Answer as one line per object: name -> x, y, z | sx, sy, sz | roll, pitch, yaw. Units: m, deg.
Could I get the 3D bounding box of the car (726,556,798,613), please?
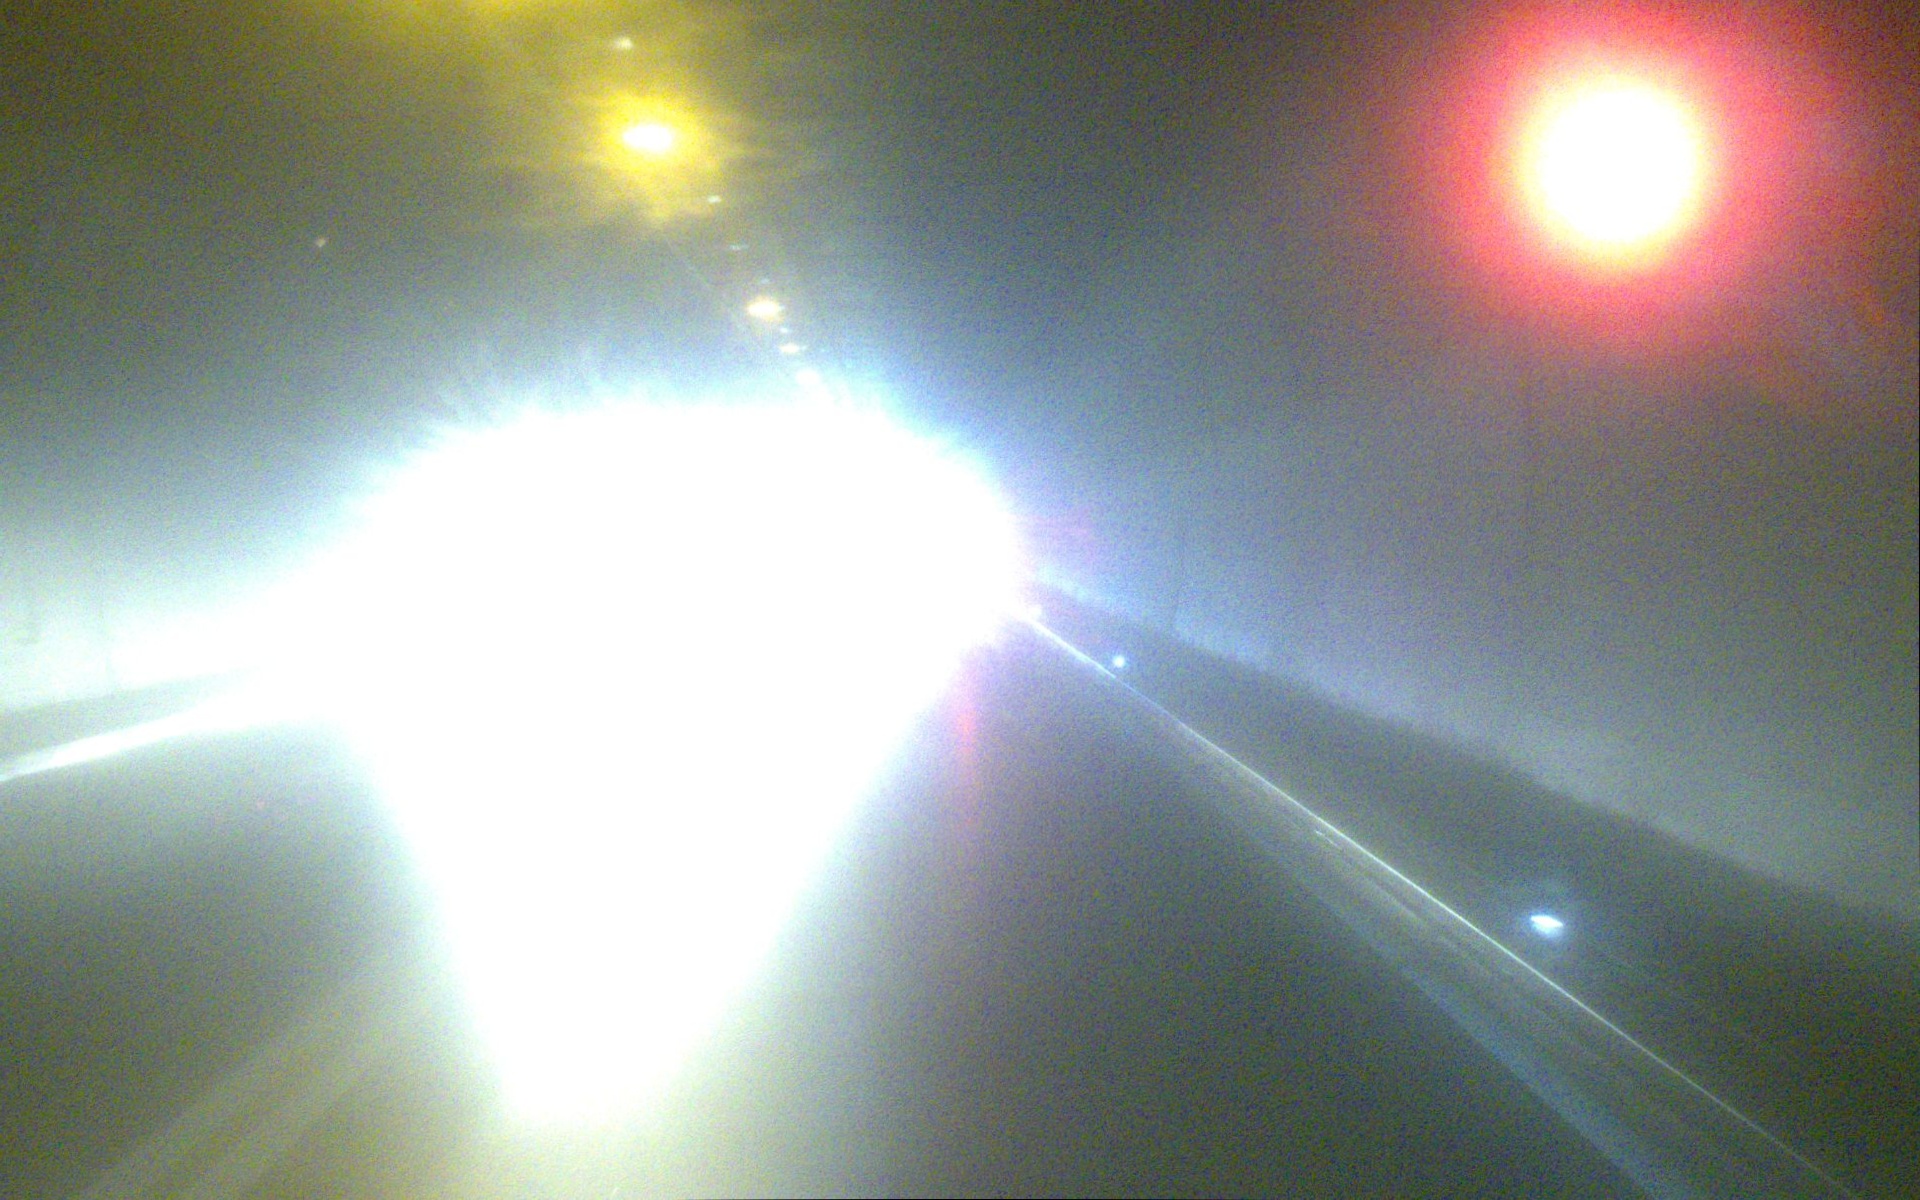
car -> -5.097, -0.419, 88.771 | 1.690, 1.417, 3.625 | -1, 1, -1

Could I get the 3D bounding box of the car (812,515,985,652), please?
car -> -0.781, -0.239, 43.646 | 2.089, 1.656, 4.000 | 0, 1, -1

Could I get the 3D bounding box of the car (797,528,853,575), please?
car -> -4.967, -1.812, 127.009 | 1.993, 1.703, 4.281 | 0, 1, -1

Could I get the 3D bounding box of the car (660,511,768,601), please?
car -> -4.355, -0.798, 61.295 | 1.701, 1.550, 3.873 | 0, 1, -1

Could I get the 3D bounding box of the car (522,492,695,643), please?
car -> -4.208, -0.433, 41.662 | 1.669, 1.641, 3.907 | -3, 2, -1
